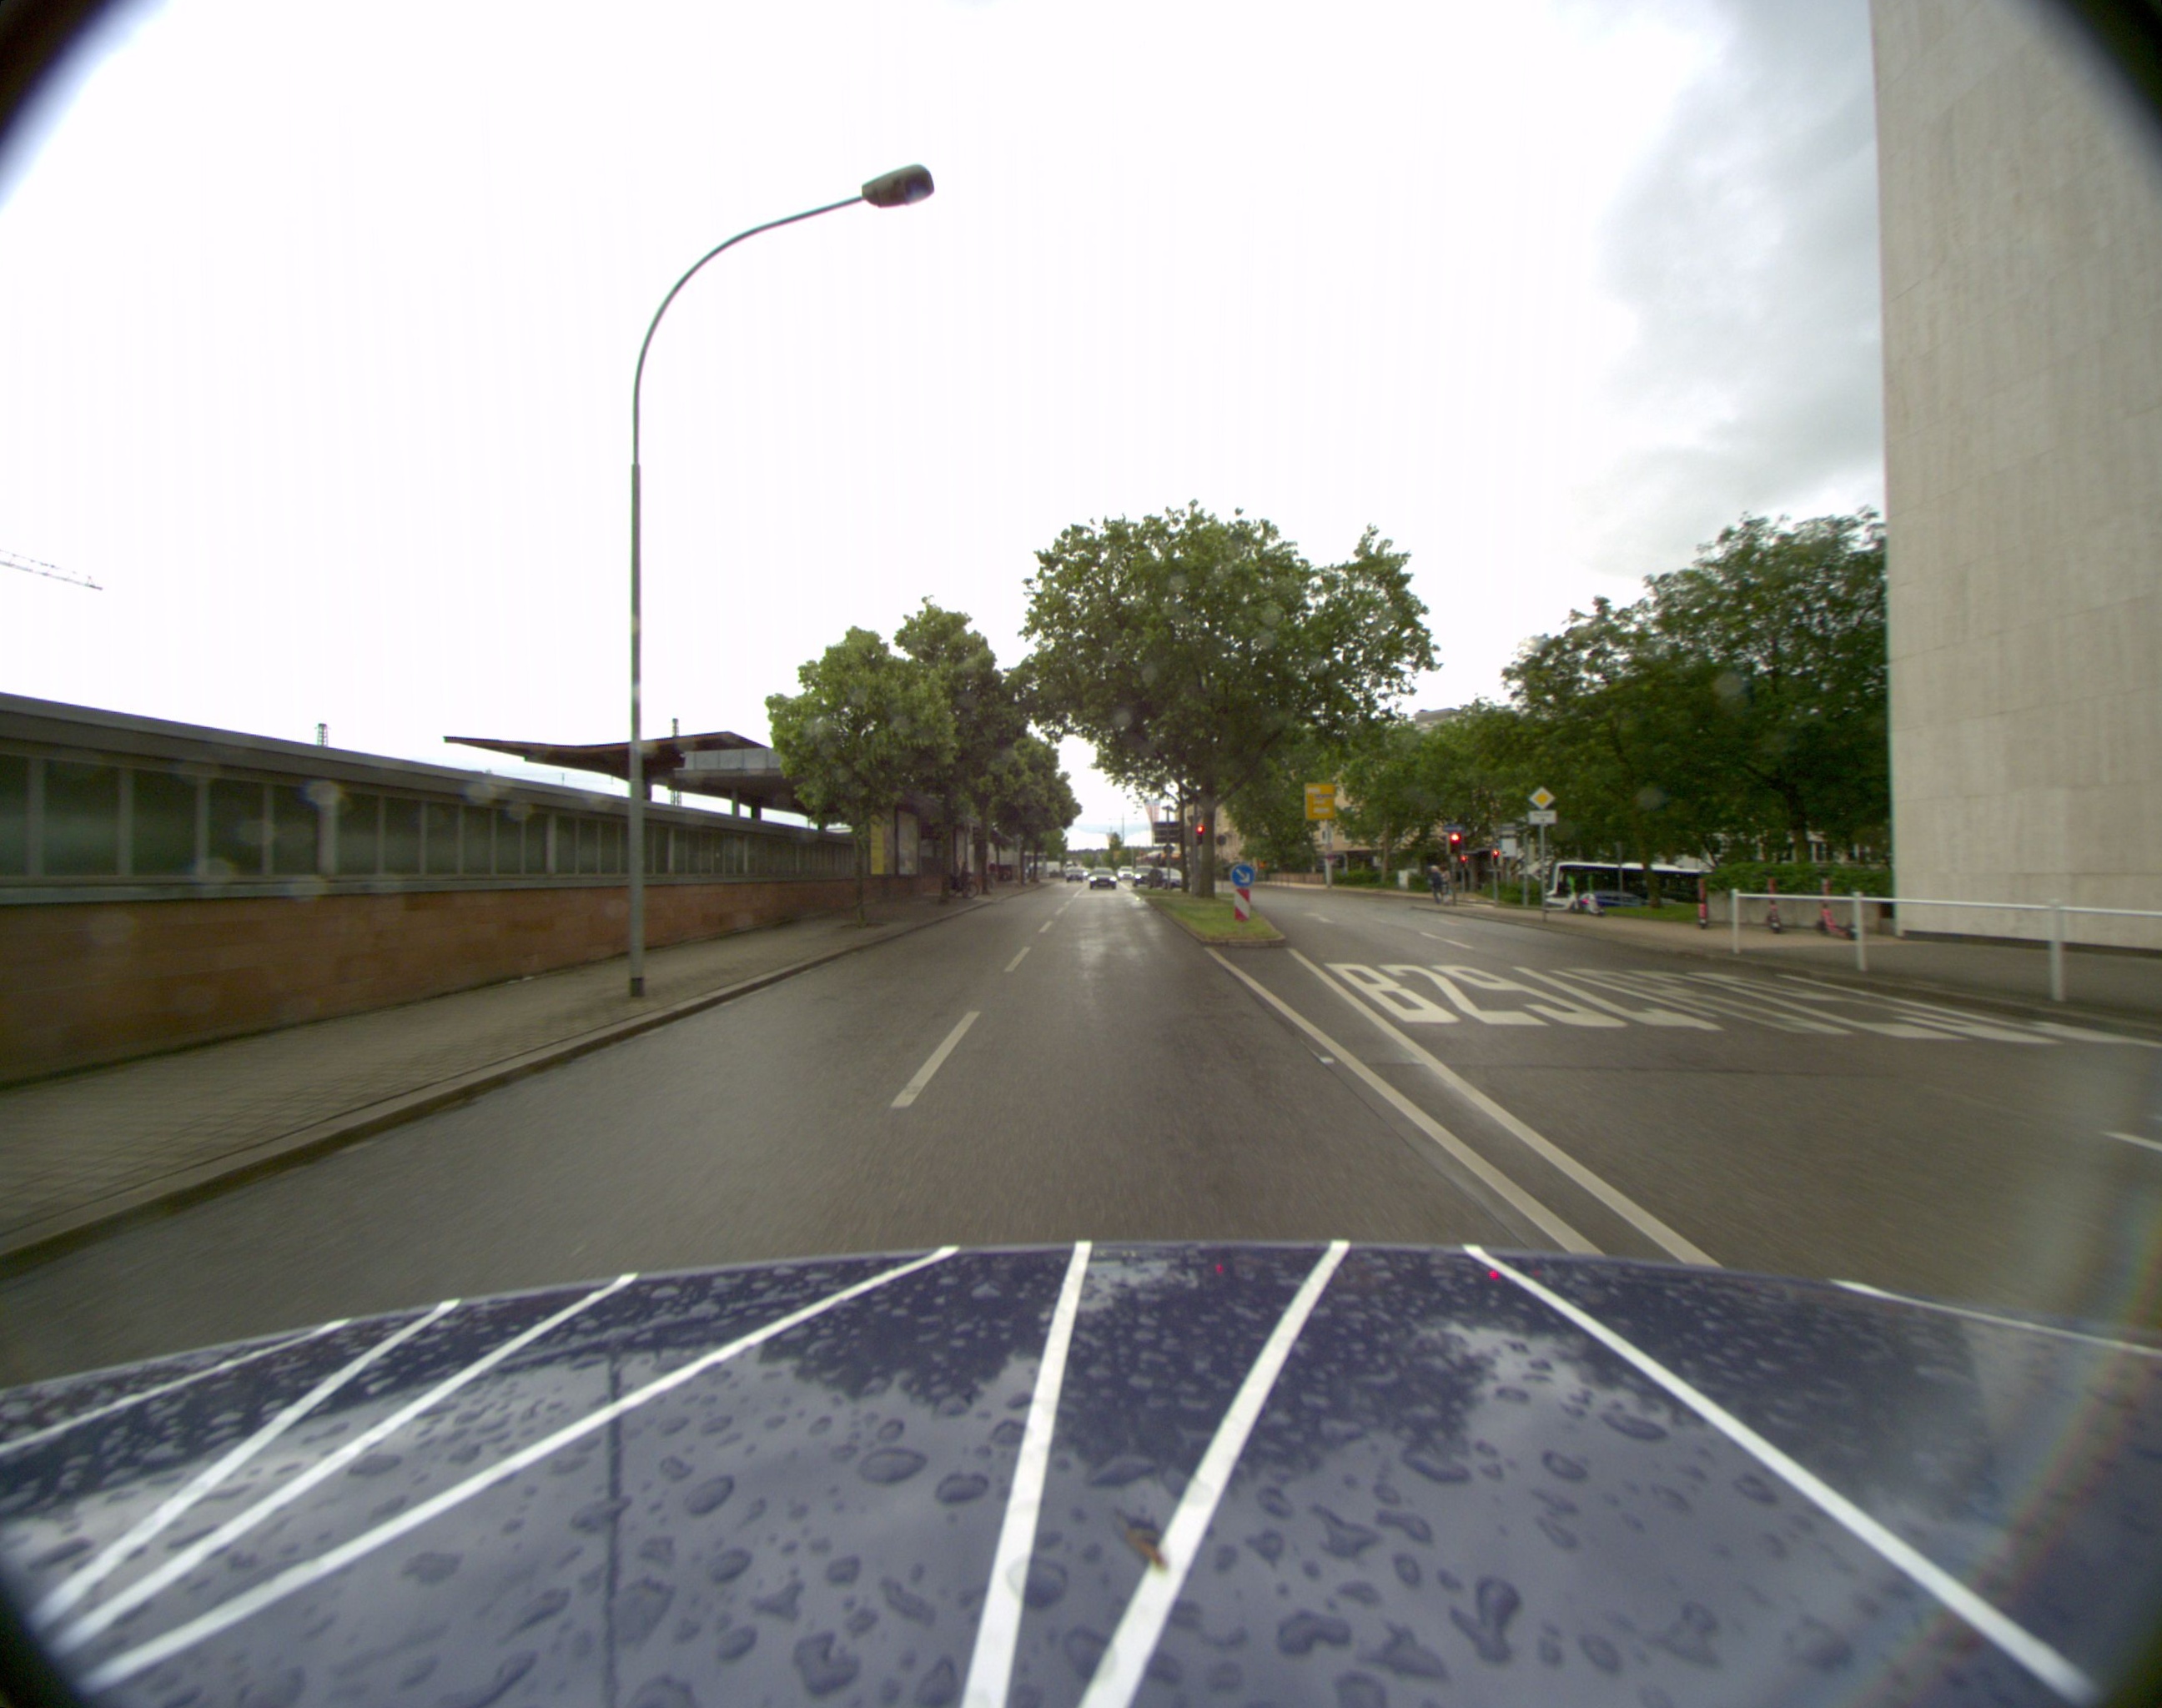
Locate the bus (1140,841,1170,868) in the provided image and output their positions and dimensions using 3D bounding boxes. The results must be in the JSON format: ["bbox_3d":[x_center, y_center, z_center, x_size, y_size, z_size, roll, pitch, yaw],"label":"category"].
[{"bbox_3d":[8.835,0.040,91.607,2.759,3.114,8.842,-1,0,0],"label":"bus"}]

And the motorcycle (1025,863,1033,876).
[{"bbox_3d":[-5.633,1.684,82.274,0.793,1.340,2.457,1,-1,-1],"label":"motorcycle"}]

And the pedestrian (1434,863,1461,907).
[{"bbox_3d":[14.546,1.215,30.172,0.655,1.700,0.797,1,0,-7],"label":"pedestrian"}]

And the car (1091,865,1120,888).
[{"bbox_3d":[1.686,1.496,51.524,1.871,1.465,3.827,1,-1,4],"label":"car"}]

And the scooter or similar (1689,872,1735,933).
[{"bbox_3d":[13.074,0.977,15.770,0.607,1.185,1.531,0,0,35],"label":"scooter or similar"}]

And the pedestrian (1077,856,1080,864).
[{"bbox_3d":[-0.607,1.399,166.317,0.560,1.741,0.700,2,0,6],"label":"pedestrian"}]

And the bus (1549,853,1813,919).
[{"bbox_3d":[35.292,1.807,45.474,11.942,3.001,2.894,3,1,22],"label":"bus"}]

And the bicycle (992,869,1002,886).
[{"bbox_3d":[-5.150,1.434,46.690,0.447,1.010,1.677,3,-1,-1],"label":"bicycle"}]

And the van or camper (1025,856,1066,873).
[{"bbox_3d":[-6.095,1.785,130.346,6.541,2.852,2.275,1,-1,-29],"label":"van or camper"}]

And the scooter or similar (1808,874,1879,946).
[{"bbox_3d":[13.136,0.927,13.128,0.607,1.157,1.531,0,0,35],"label":"scooter or similar"}]

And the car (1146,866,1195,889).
[{"bbox_3d":[6.003,1.556,51.502,1.822,1.401,4.408,1,-1,-15],"label":"car"}]

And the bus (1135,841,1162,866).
[{"bbox_3d":[8.877,-0.023,100.959,2.817,3.226,9.914,1,-1,0],"label":"bus"}]

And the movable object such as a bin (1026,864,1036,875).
[{"bbox_3d":[-5.836,1.810,89.210,1.036,1.330,1.317,1,-1,-1],"label":"movable object such as a bin"}]

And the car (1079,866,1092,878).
[{"bbox_3d":[0.592,2.244,96.042,1.619,1.477,3.670,1,-1,0],"label":"car"}]

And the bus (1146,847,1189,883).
[{"bbox_3d":[8.729,1.163,78.289,2.963,3.419,12.560,1,-1,0],"label":"bus"}]

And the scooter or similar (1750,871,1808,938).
[{"bbox_3d":[13.246,0.932,14.449,0.607,1.185,1.531,0,0,35],"label":"scooter or similar"}]

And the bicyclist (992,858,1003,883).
[{"bbox_3d":[-5.155,1.016,46.745,0.535,1.529,0.694,2,0,-1],"label":"bicyclist"}]

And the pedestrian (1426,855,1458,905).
[{"bbox_3d":[14.885,1.067,31.382,0.936,2.033,0.874,1,0,8],"label":"pedestrian"}]

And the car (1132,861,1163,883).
[{"bbox_3d":[5.149,1.379,59.407,1.969,1.630,4.359,1,-1,0],"label":"car"}]

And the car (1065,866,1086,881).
[{"bbox_3d":[-0.498,1.950,77.801,1.871,1.465,3.827,1,-1,4],"label":"car"}]

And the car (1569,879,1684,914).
[{"bbox_3d":[25.374,1.943,35.532,4.093,1.499,1.850,-1,0,24],"label":"car"}]

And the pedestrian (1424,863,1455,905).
[{"bbox_3d":[13.810,1.142,29.317,0.655,1.593,0.924,1,0,-10],"label":"pedestrian"}]

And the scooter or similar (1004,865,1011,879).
[{"bbox_3d":[-6.445,1.589,67.083,0.494,1.146,1.545,1,0,-1],"label":"scooter or similar"}]

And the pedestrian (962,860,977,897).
[{"bbox_3d":[-4.770,1.050,32.450,0.456,1.559,0.394,2,0,36],"label":"pedestrian"}]

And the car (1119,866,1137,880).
[{"bbox_3d":[5.259,2.138,85.262,1.983,1.438,3.909,1,-1,2],"label":"car"}]

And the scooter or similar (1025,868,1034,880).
[{"bbox_3d":[-5.424,2.113,80.081,0.495,1.146,1.713,1,0,-18],"label":"scooter or similar"}]

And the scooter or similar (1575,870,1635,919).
[{"bbox_3d":[13.511,1.020,19.631,0.571,1.185,1.575,0,0,5],"label":"scooter or similar"}]

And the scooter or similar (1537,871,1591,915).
[{"bbox_3d":[13.528,1.069,21.312,0.489,1.160,1.502,1,0,-2],"label":"scooter or similar"}]

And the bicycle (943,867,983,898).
[{"bbox_3d":[-4.989,1.185,32.103,1.720,1.241,0.487,2,0,33],"label":"bicycle"}]
